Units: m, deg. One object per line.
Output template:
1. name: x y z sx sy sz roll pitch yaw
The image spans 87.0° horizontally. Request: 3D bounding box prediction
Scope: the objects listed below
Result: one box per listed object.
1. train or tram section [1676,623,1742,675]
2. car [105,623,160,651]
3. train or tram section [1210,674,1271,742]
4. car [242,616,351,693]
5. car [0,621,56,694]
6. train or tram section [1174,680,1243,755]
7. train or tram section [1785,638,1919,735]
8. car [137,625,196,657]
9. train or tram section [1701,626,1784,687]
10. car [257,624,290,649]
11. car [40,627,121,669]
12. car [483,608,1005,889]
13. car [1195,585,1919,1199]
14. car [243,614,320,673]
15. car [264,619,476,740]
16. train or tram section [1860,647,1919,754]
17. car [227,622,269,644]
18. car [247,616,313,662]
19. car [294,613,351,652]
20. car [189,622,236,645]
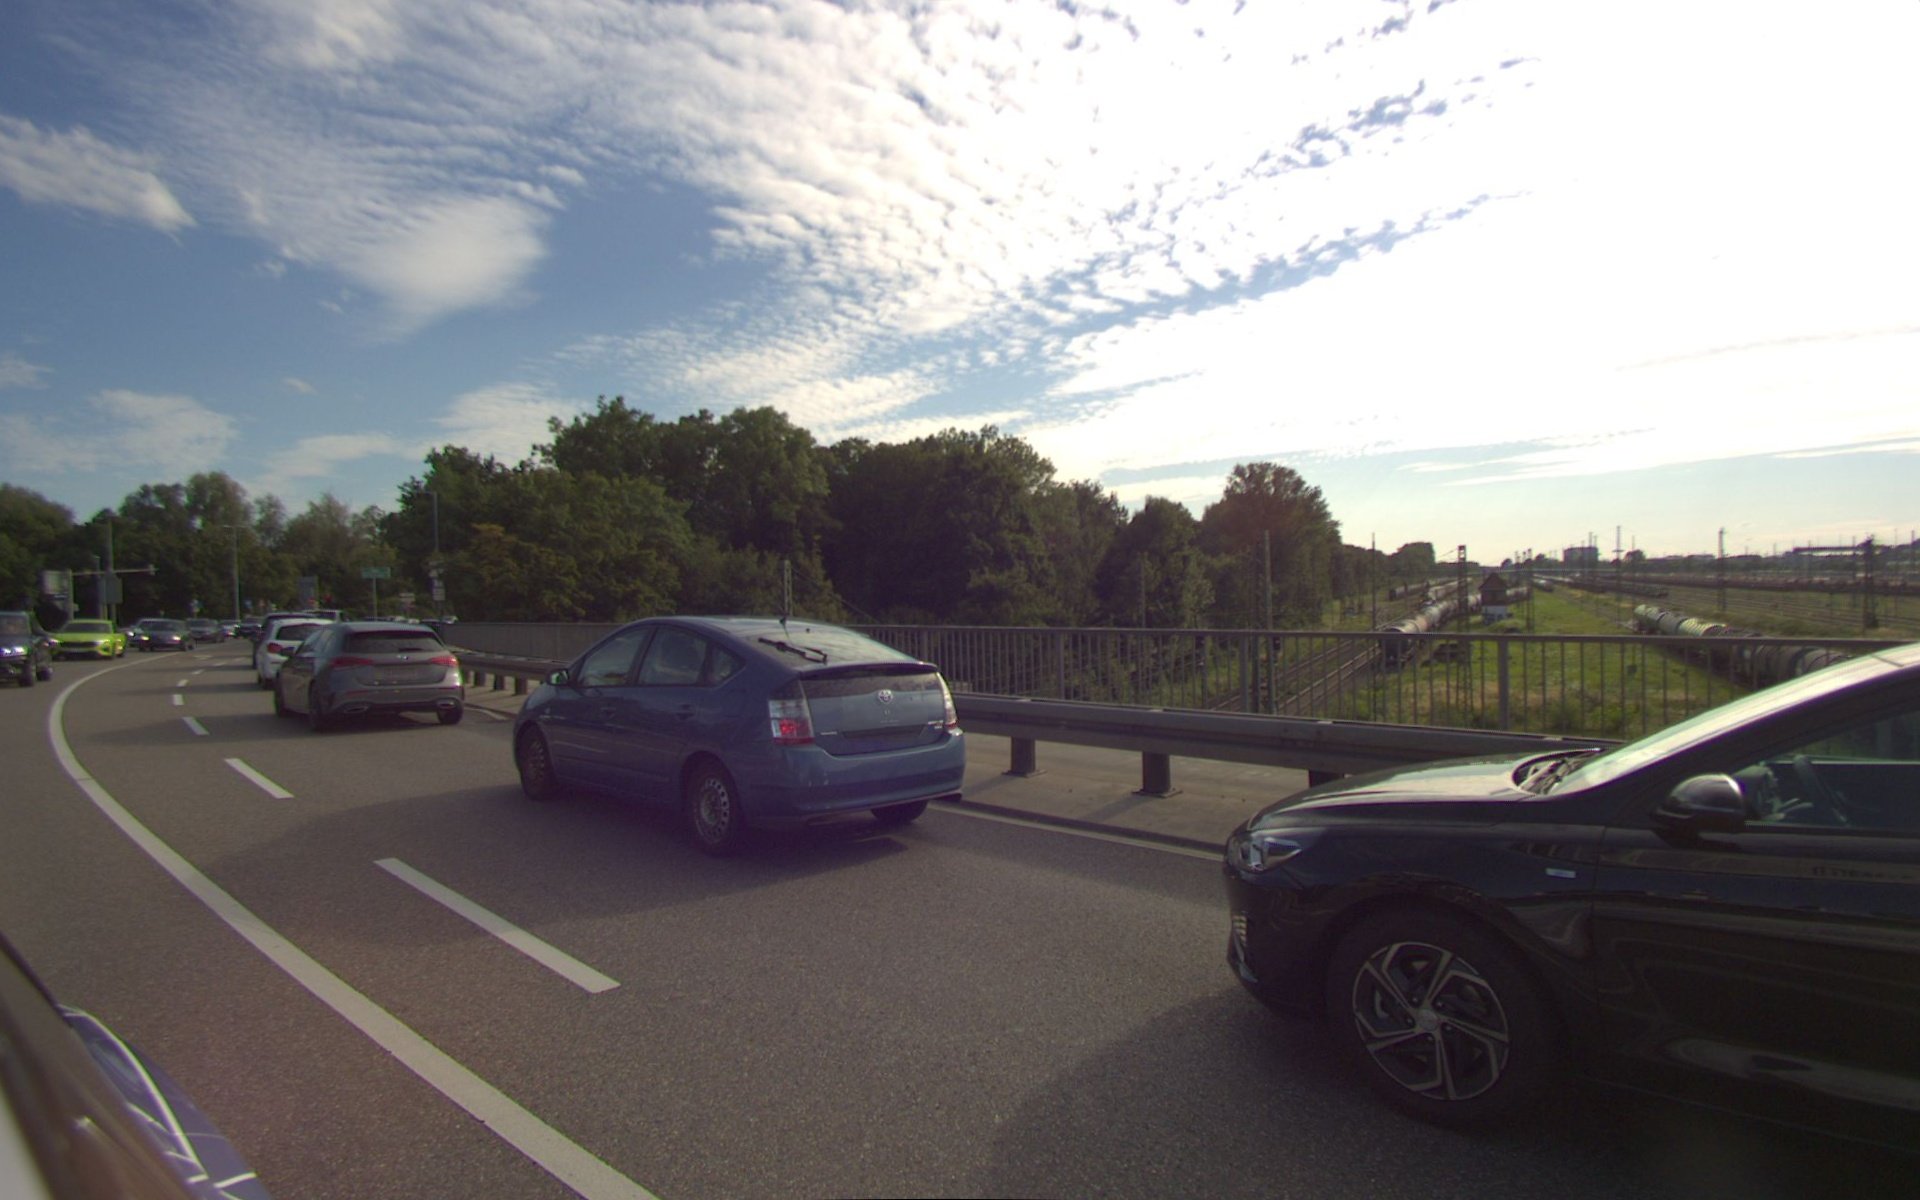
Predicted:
1. train or tram section: 76.510 4.795 103.727 3.083 4.748 16.587 -1 -1 28
2. car: -42.443 1.874 51.986 1.663 1.333 3.796 0 -1 -31
3. train or tram section: 18.533 7.003 66.618 2.044 3.812 6.769 -1 -1 31
4. car: -14.763 1.149 22.421 1.661 1.557 3.930 1 -2 -38
5. car: -21.642 1.235 22.635 1.790 1.519 4.400 1 -2 -38
6. train or tram section: 15.015 6.933 60.821 2.044 3.812 6.769 -1 -1 31
7. train or tram section: 54.162 4.890 61.486 3.083 4.748 16.587 -1 -1 28
8. car: -36.327 1.847 46.409 1.663 1.333 3.796 0 -1 -31
9. train or tram section: 69.863 4.809 90.784 3.083 4.748 16.587 -1 -1 28
10. car: -57.901 3.034 85.418 1.966 2.029 4.285 0 -1 -31
11. car: -31.601 1.671 36.454 1.790 1.415 4.401 1 -2 -36
12. car: -1.863 0.844 7.598 1.739 1.501 4.393 1 -2 -45
13. car: 3.010 0.720 2.519 4.444 1.501 1.741 -1 -2 42
14. car: -21.069 1.307 31.407 1.844 1.679 4.641 1 -2 -34
15. car: -8.570 1.025 14.522 1.791 1.468 4.330 1 -2 -42
16. train or tram section: 46.316 4.819 46.872 3.083 4.748 16.587 -1 -1 28
17. car: -53.639 2.477 76.308 1.965 1.612 4.295 0 -1 -27
18. car: -27.582 1.540 41.161 1.748 1.759 3.849 0 -1 -27
19. car: -33.901 1.708 53.946 1.957 1.979 5.064 0 -1 -25
20. car: -45.124 2.011 61.145 1.663 1.333 3.796 0 -1 -27
